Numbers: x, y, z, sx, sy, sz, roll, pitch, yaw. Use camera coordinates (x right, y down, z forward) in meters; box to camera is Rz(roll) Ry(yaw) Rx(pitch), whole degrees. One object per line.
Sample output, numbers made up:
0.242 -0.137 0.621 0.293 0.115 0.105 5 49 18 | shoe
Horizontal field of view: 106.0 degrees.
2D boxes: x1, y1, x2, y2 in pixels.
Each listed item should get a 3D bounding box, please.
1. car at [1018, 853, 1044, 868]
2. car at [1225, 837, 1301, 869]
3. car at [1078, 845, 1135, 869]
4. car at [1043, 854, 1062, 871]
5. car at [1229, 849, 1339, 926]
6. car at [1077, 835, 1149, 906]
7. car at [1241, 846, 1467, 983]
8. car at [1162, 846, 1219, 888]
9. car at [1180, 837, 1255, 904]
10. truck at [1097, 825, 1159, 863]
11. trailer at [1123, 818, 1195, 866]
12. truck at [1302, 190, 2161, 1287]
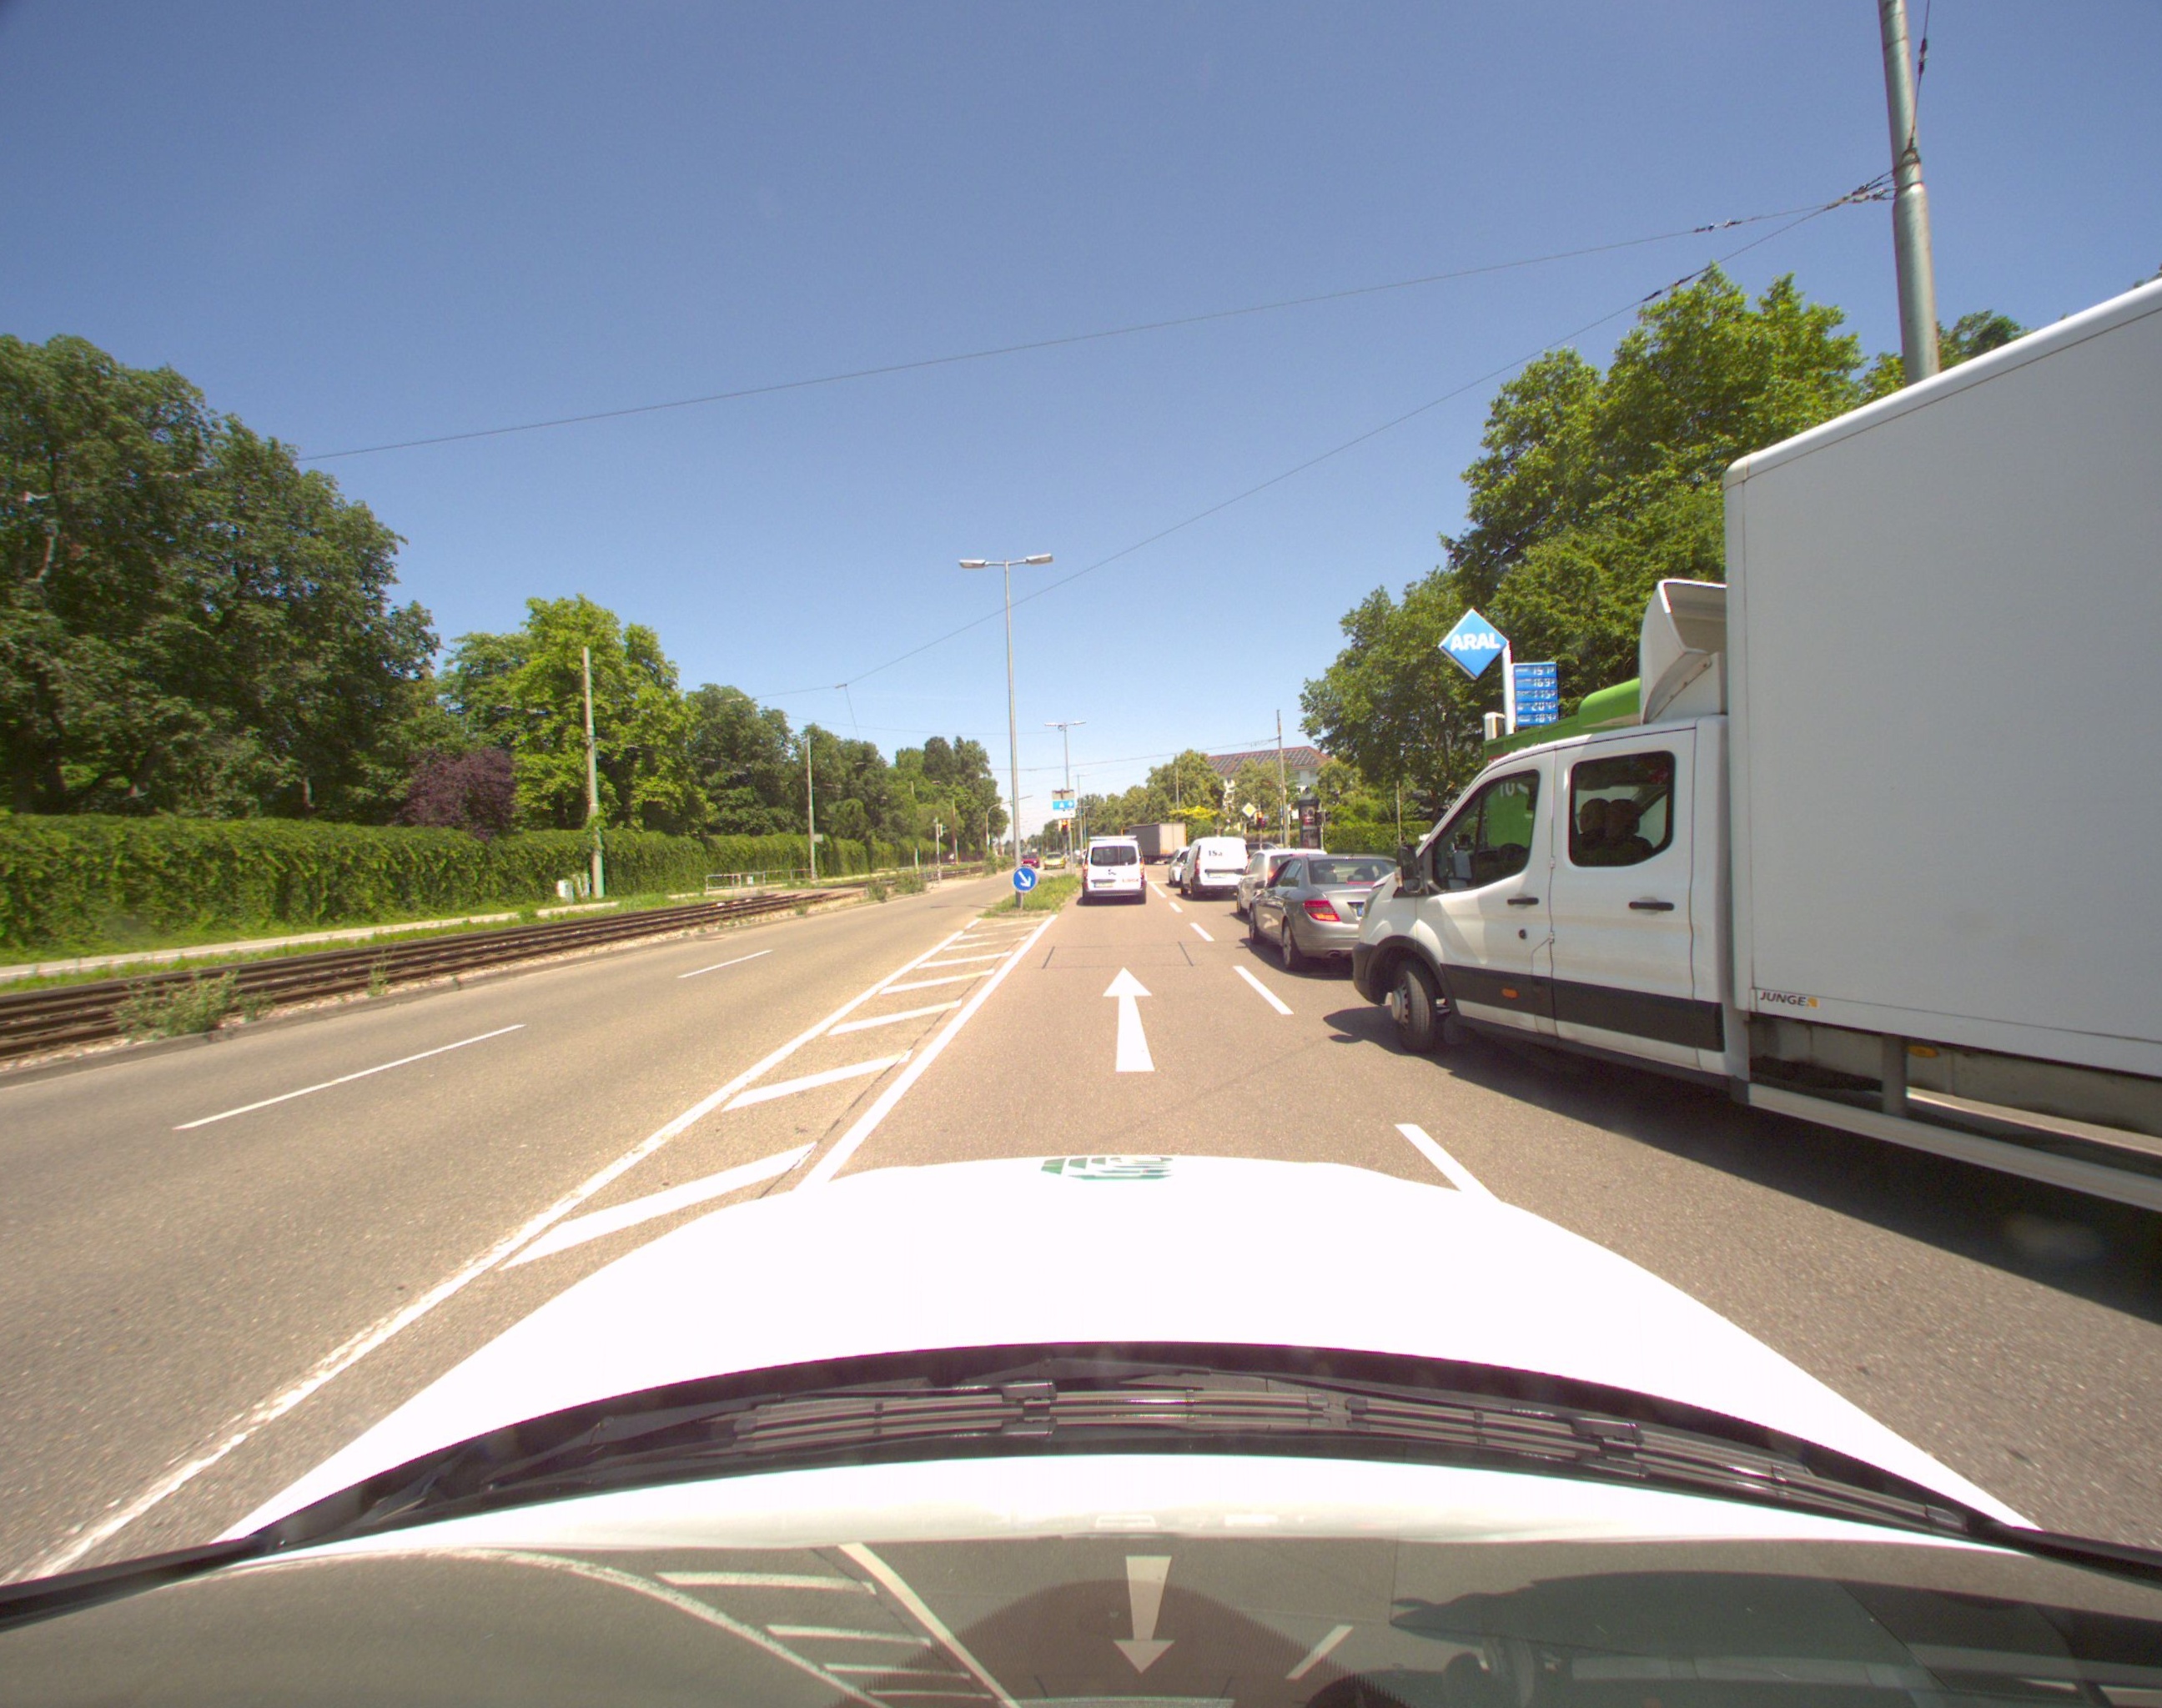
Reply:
-4.945 0.643 81.274 1.976 1.358 4.542 -2 0 3 | car
11.535 -0.054 51.542 4.489 1.829 2.009 -2 0 17 | car
1.851 0.224 60.435 2.007 1.617 4.410 -2 0 -32 | car
-2.508 0.691 71.494 1.535 1.379 3.998 -2 0 -3 | car
4.165 0.627 17.160 1.600 1.451 3.523 -1 0 3 | car
0.902 0.436 23.523 1.860 1.836 3.850 -1 0 1 | car
3.447 0.658 11.201 1.788 1.449 4.421 -2 0 3 | car
4.238 0.467 32.034 1.749 1.486 4.002 -2 0 2 | car
3.972 0.433 24.270 1.703 1.830 4.016 0 0 2 | car
4.767 -1.005 84.940 3.584 3.632 8.760 -2 0 -16 | truck
7.125 -1.048 76.341 3.536 4.050 8.927 -2 0 -16 | trailer
4.282 -0.373 3.593 2.426 3.391 7.785 -2 0 -18 | truck
